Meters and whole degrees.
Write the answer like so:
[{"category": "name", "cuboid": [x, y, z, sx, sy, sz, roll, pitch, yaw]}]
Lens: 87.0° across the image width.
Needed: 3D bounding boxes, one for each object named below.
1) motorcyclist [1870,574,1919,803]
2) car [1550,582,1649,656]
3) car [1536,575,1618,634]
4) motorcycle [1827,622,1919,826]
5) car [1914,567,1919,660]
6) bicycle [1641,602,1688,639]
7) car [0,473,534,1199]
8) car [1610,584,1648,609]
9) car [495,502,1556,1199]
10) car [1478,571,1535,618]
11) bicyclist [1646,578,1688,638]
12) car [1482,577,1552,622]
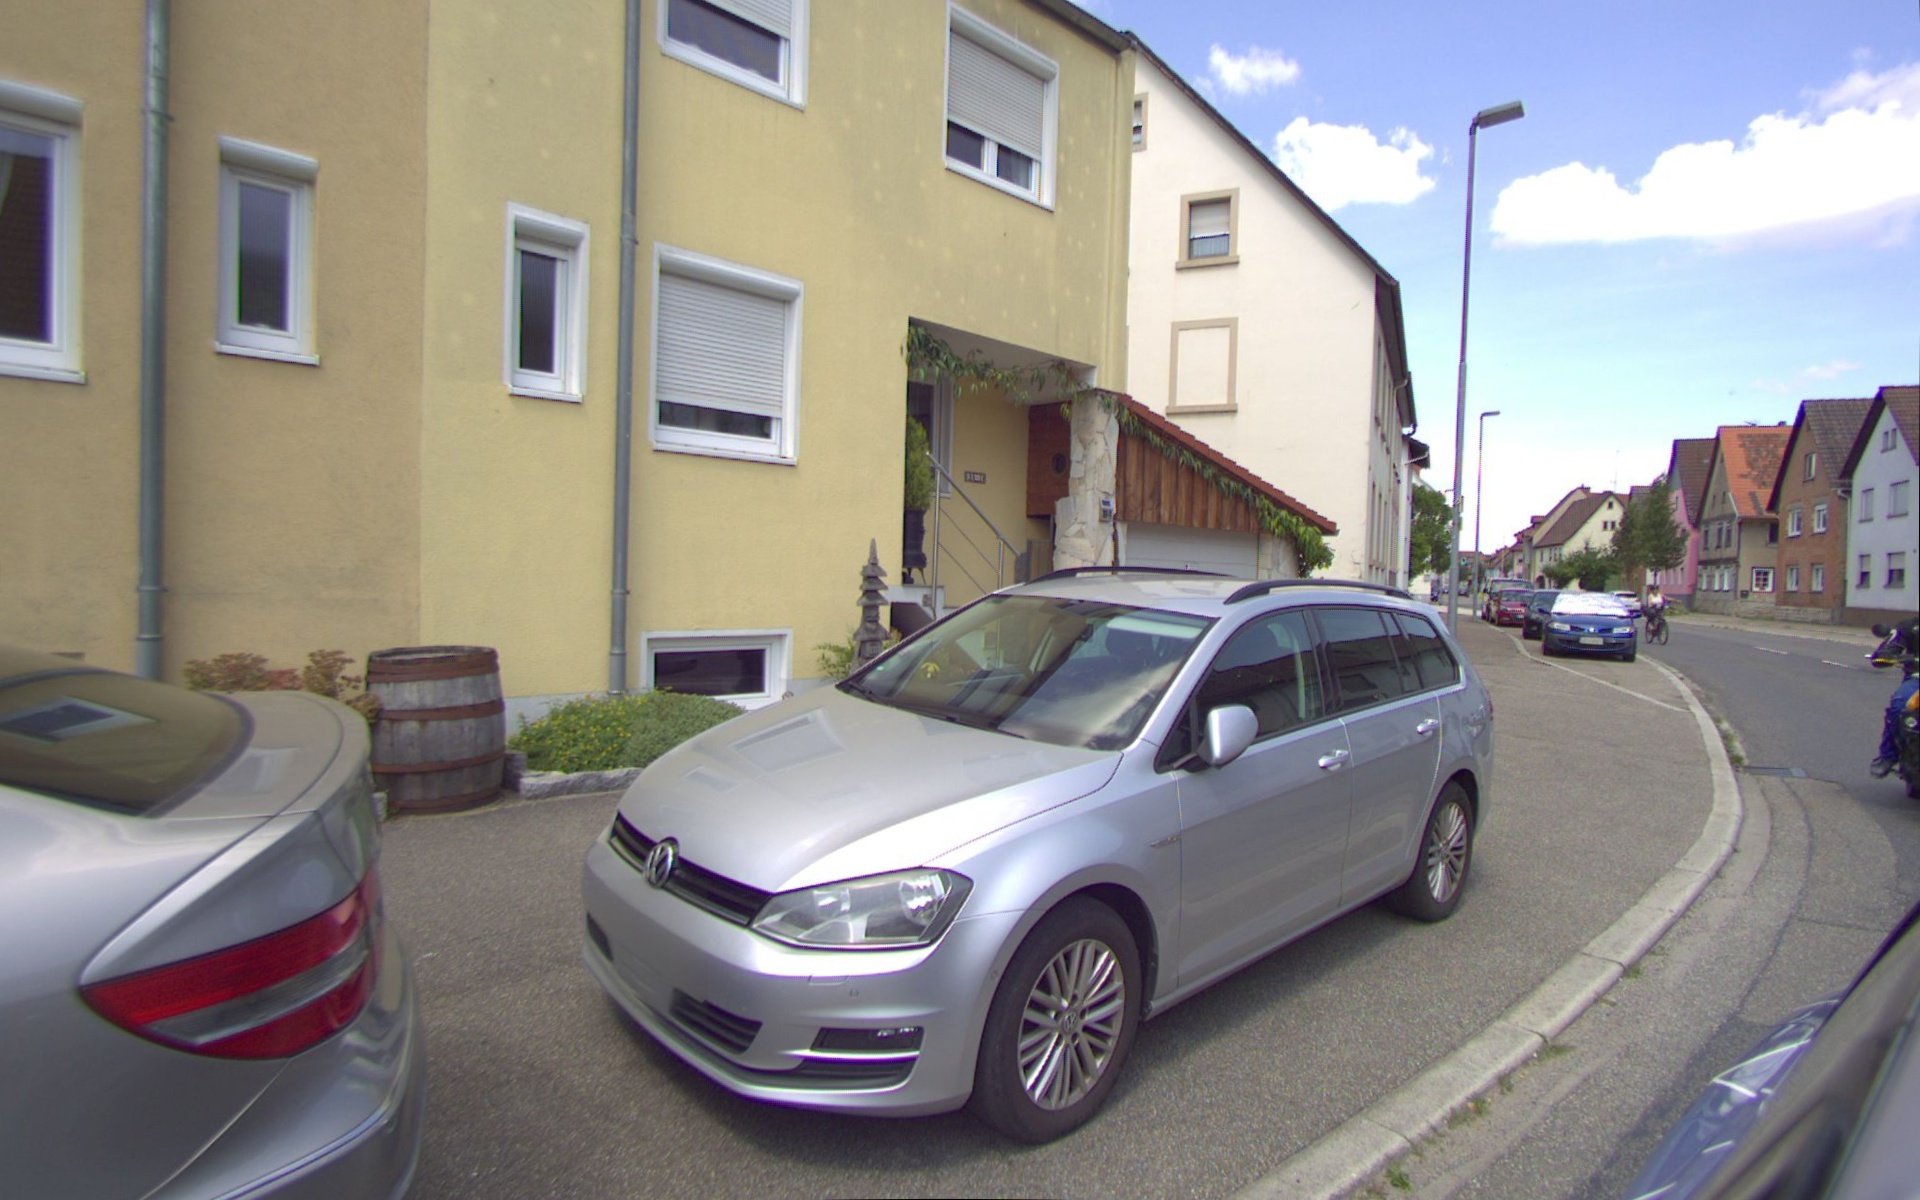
[{"category": "motorcyclist", "cuboid": [7.287, 0.631, 7.243, 0.785, 1.619, 1.001, -1, 2, -36]}, {"category": "car", "cuboid": [14.512, 0.359, 23.048, 1.715, 1.402, 3.956, 3, 3, 32]}, {"category": "car", "cuboid": [17.834, 0.160, 29.411, 1.758, 1.549, 3.960, 2, 0, 28]}, {"category": "motorcycle", "cuboid": [6.955, 0.805, 7.012, 2.063, 1.257, 0.985, 0, 0, -36]}, {"category": "car", "cuboid": [18.694, 0.347, 17.638, 1.984, 1.822, 4.882, 1, 2, 31]}, {"category": "bicycle", "cuboid": [20.844, 0.600, 29.928, 0.931, 1.024, 1.895, 1, 0, 42]}, {"category": "car", "cuboid": [-2.842, 0.537, 0.779, 4.343, 1.416, 1.776, -1, 5, -38]}, {"category": "car", "cuboid": [44.138, -0.265, 66.784, 1.668, 1.549, 3.467, 0, 2, 27]}, {"category": "car", "cuboid": [0.660, 0.515, 4.127, 4.263, 1.548, 1.888, 0, 5, -44]}, {"category": "car", "cuboid": [24.470, -0.294, 45.463, 1.912, 1.939, 5.202, 0, 2, 25]}, {"category": "bicyclist", "cuboid": [20.938, 0.223, 29.971, 0.907, 1.709, 0.749, 1, 2, 43]}, {"category": "car", "cuboid": [21.722, -0.062, 39.590, 1.644, 1.668, 3.977, 0, 1, 18]}]
